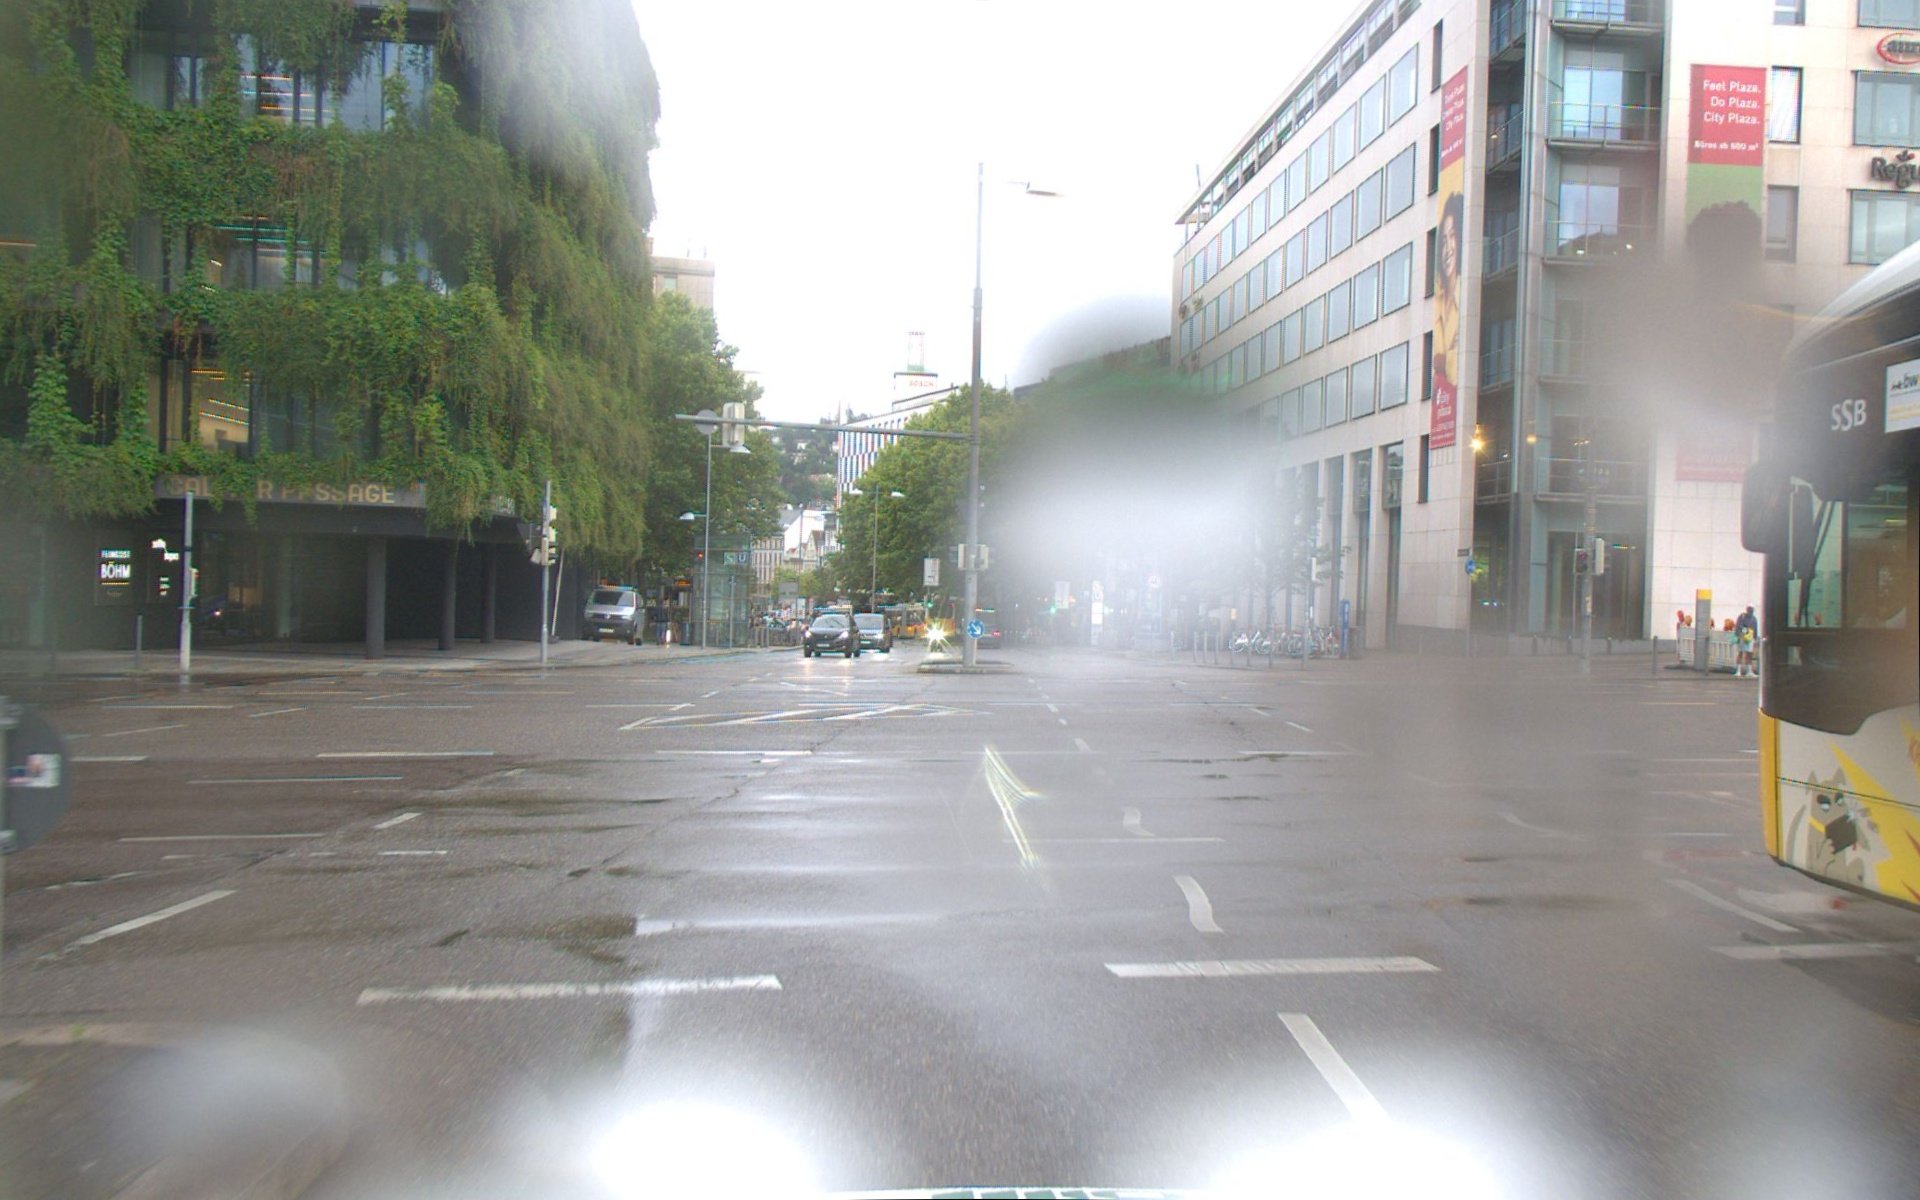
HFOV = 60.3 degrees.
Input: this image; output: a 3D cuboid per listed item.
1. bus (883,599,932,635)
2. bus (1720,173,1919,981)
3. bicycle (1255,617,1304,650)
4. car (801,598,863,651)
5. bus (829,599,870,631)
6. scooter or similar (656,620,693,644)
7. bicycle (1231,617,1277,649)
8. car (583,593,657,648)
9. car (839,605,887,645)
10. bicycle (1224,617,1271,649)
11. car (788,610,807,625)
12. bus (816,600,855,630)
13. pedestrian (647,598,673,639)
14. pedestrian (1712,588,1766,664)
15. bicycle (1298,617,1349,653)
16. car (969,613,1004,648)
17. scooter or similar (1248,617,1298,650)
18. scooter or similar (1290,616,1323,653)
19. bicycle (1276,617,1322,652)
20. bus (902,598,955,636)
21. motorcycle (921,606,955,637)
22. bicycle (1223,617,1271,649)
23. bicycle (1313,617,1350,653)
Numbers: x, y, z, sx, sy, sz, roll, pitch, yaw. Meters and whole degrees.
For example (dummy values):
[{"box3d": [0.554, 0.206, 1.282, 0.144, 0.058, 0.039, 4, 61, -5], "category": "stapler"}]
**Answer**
[{"box3d": [-4.627, 1.435, 144.176, 2.585, 3.048, 7.417, 1, 0, -16], "category": "bus"}, {"box3d": [5.560, -0.131, 4.173, 2.824, 3.511, 9.756, 1, -1, 0], "category": "bus"}, {"box3d": [12.133, 1.287, 62.919, 1.741, 1.215, 0.586, 1, -1, 1], "category": "bicycle"}, {"box3d": [-4.595, 0.883, 60.170, 2.121, 1.796, 5.108, 1, -1, -3], "category": "car"}, {"box3d": [-10.978, 1.481, 164.232, 2.585, 3.048, 7.296, 1, 0, -16], "category": "bus"}, {"box3d": [-12.681, 1.418, 73.512, 0.612, 1.022, 1.653, 0, -1, 37], "category": "scooter or similar"}, {"box3d": [11.666, 1.320, 65.633, 1.741, 1.215, 0.586, 1, -1, 1], "category": "bicycle"}, {"box3d": [-12.151, 0.736, 59.317, 1.832, 1.871, 3.999, 1, -1, -1], "category": "car"}, {"box3d": [-4.534, 1.172, 77.390, 2.121, 1.796, 5.108, 1, -1, -3], "category": "car"}, {"box3d": [11.249, 1.296, 64.710, 1.741, 1.215, 0.586, 1, -1, 1], "category": "bicycle"}, {"box3d": [-17.551, 1.878, 178.681, 1.745, 1.534, 3.999, 1, -1, -1], "category": "car"}, {"box3d": [-12.967, 1.495, 171.302, 2.585, 3.048, 7.417, 1, 0, -16], "category": "bus"}, {"box3d": [-12.516, 0.788, 69.060, 0.915, 1.673, 0.774, 1, -1, -1], "category": "pedestrian"}, {"box3d": [19.487, 0.651, 41.375, 0.942, 1.848, 0.836, 1, -1, -1], "category": "pedestrian"}, {"box3d": [12.355, 1.186, 56.162, 1.590, 1.215, 0.586, 1, -1, 25], "category": "bicycle"}, {"box3d": [1.560, 1.805, 98.885, 1.514, 2.049, 4.662, 1, -1, -5], "category": "car"}, {"box3d": [11.788, 1.270, 62.292, 1.741, 1.215, 0.586, 1, -1, 1], "category": "scooter or similar"}, {"box3d": [11.618, 1.160, 55.467, 0.946, 1.215, 0.453, 0, -1, 40], "category": "scooter or similar"}, {"box3d": [11.820, 1.199, 57.706, 0.578, 1.215, 1.766, 2, -1, -28], "category": "bicycle"}, {"box3d": [-2.639, 1.407, 137.057, 2.585, 3.048, 7.417, 1, 0, -16], "category": "bus"}, {"box3d": [-1.164, 1.112, 84.827, 1.521, 1.541, 4.381, 1, -1, -3], "category": "motorcycle"}, {"box3d": [11.105, 1.283, 64.074, 1.741, 1.215, 0.586, 1, -1, 1], "category": "bicycle"}, {"box3d": [13.095, 1.235, 58.281, 0.575, 1.215, 1.776, 0, -1, 37], "category": "bicycle"}]
